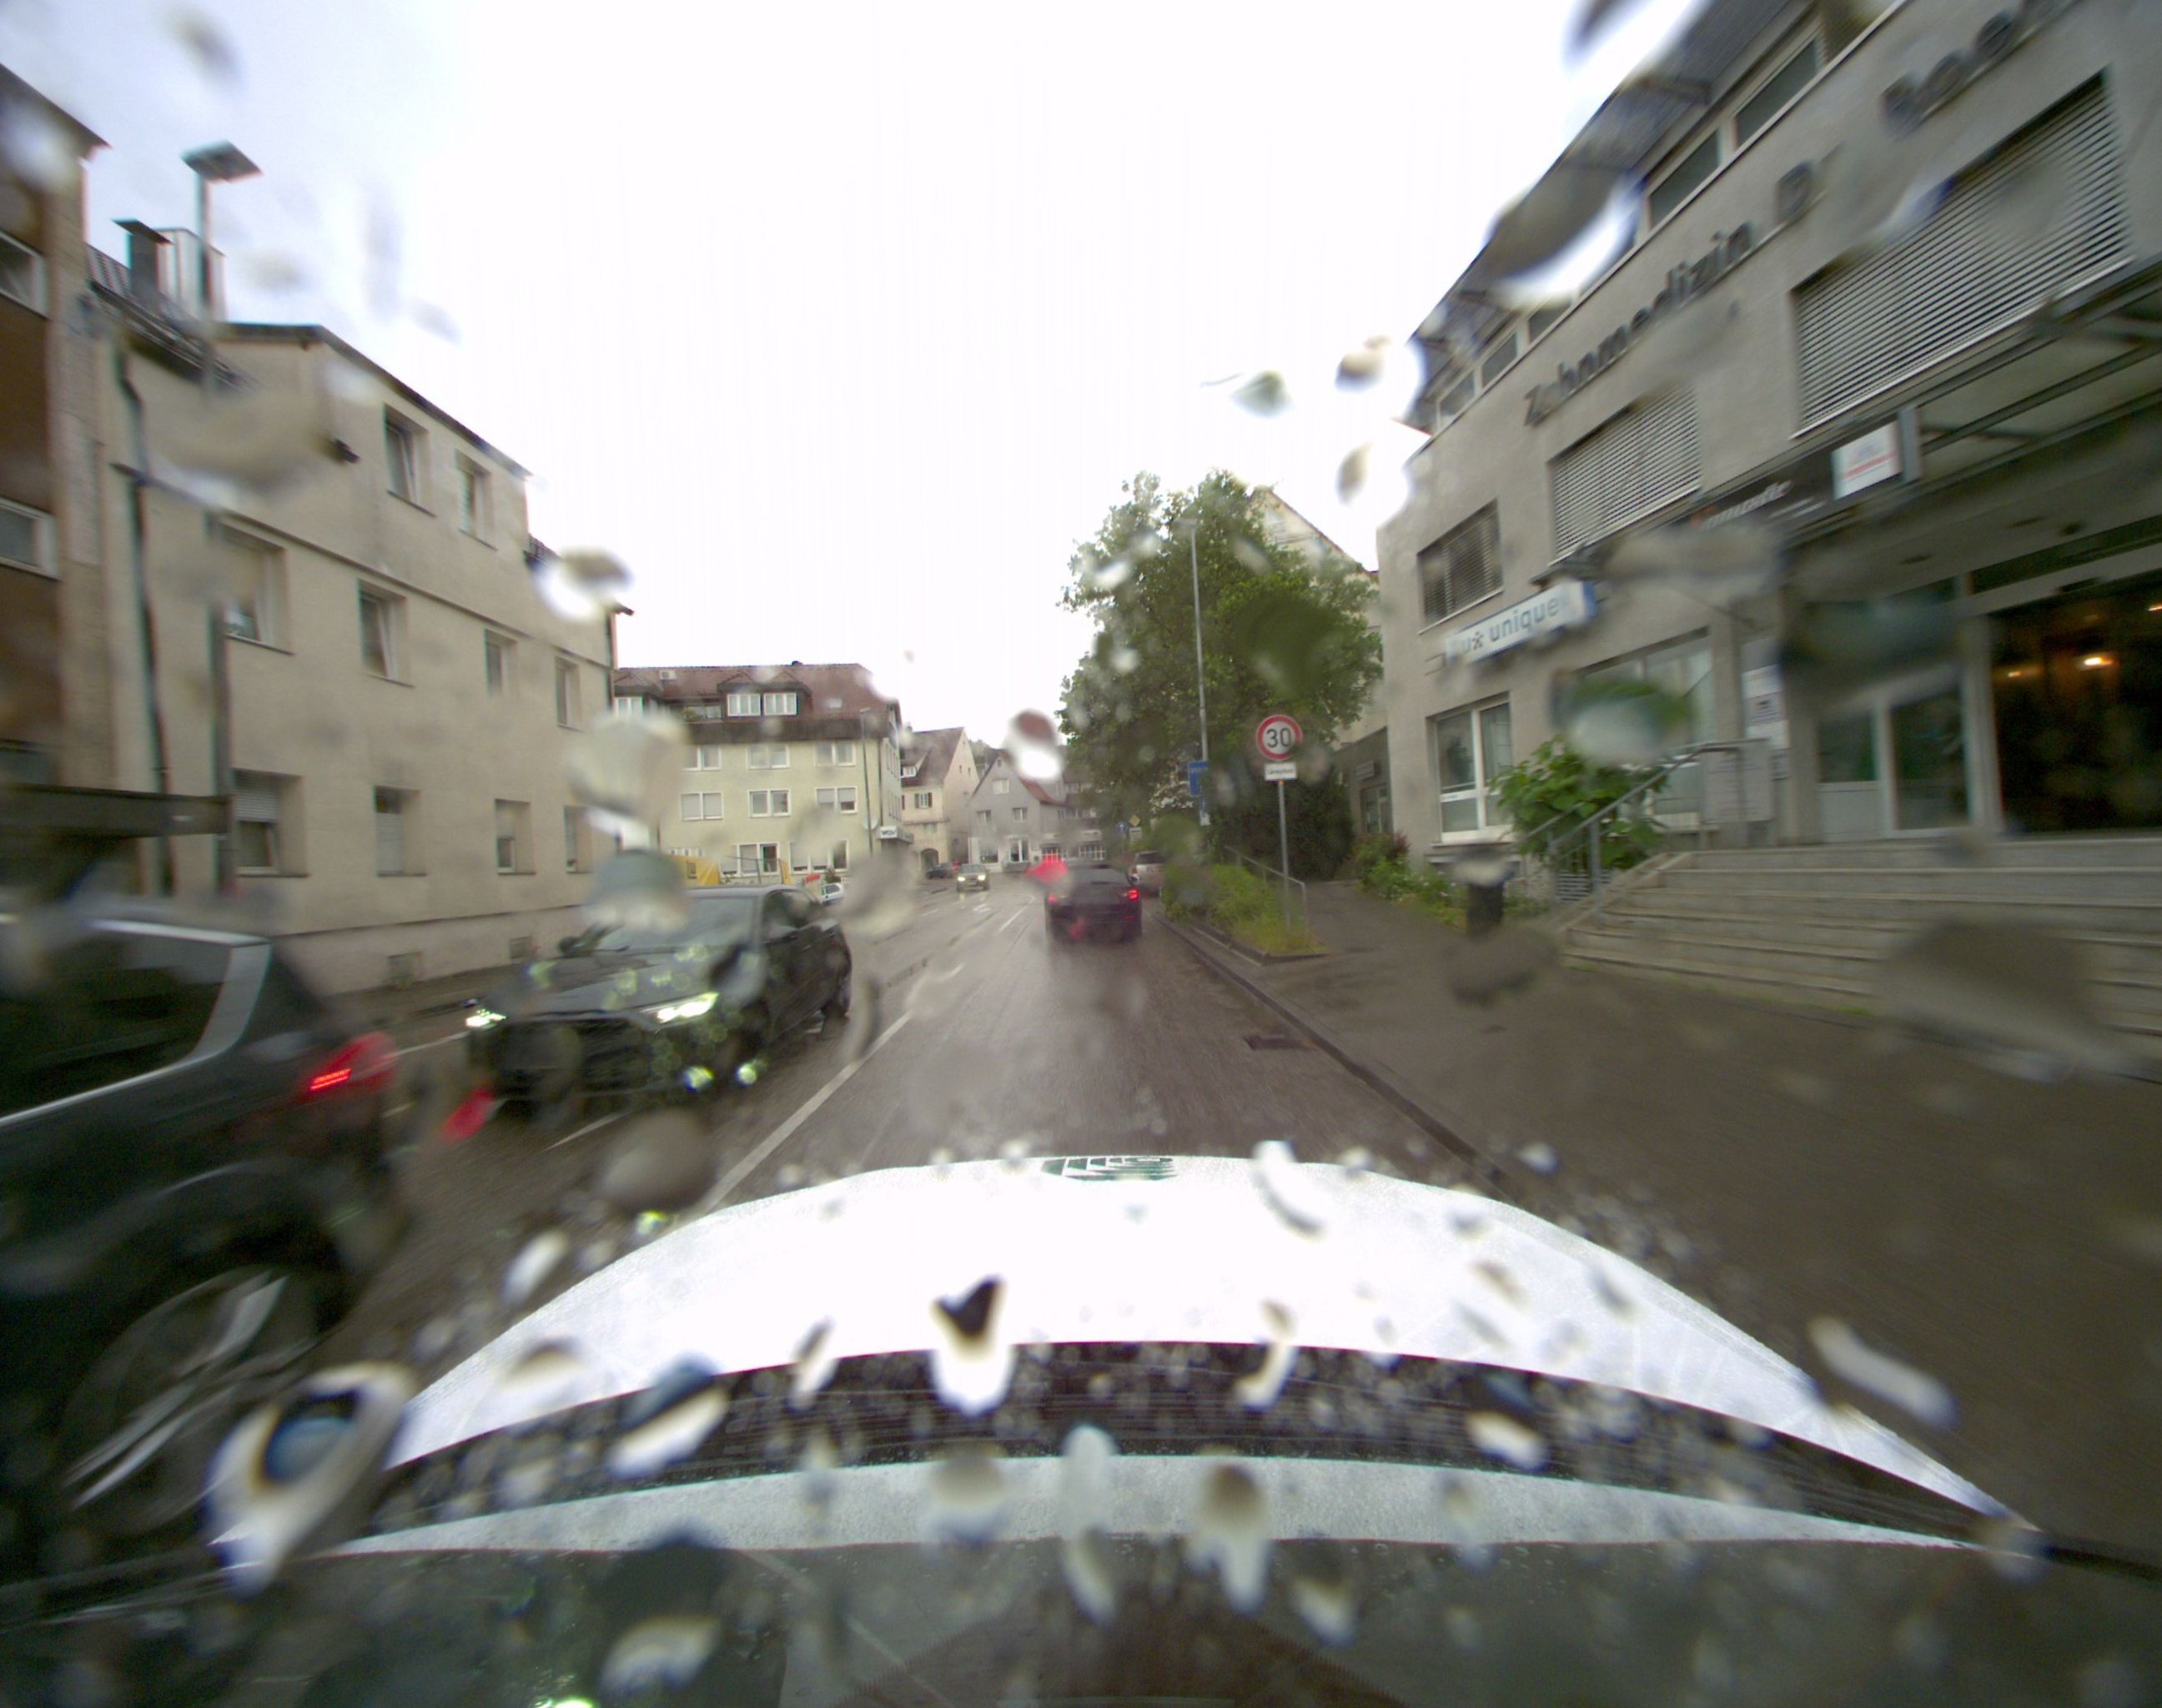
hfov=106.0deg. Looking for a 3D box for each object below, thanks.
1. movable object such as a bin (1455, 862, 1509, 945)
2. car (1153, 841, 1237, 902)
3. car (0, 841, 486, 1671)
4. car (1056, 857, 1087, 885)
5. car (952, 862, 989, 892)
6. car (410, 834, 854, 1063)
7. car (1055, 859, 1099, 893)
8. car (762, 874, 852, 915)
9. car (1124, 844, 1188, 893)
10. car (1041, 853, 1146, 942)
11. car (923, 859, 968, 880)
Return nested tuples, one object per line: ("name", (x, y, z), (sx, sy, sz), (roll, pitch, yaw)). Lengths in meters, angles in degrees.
("movable object such as a bin", (4.933, 0.593, 10.045), (0.507, 0.945, 0.605), (0, 4, 18))
("car", (3.455, 0.525, 25.260), (1.848, 1.641, 3.534), (-4, -1, -3))
("car", (-2.933, 0.781, 0.590), (1.779, 1.563, 4.400), (-2, 0, -1))
("car", (-0.569, 1.104, 52.544), (1.721, 1.591, 4.184), (-2, -4, 2))
("car", (-6.449, 1.338, 47.090), (1.661, 1.571, 3.980), (-3, -1, -14))
("car", (-3.293, 0.588, 6.961), (1.612, 1.334, 3.951), (-2, 0, -1))
("car", (-0.202, 0.958, 36.810), (1.812, 1.359, 3.988), (-3, -1, -1))
("car", (-14.003, 2.052, 41.878), (4.013, 1.386, 1.787), (-9, 3, -12))
("car", (2.812, 0.556, 31.341), (1.848, 1.641, 3.867), (-4, -1, -3))
("car", (0.277, 0.786, 16.262), (1.775, 1.483, 4.247), (-2, -1, 2))
("car", (-12.444, 1.434, 74.767), (3.641, 1.590, 1.910), (-5, -2, 28))
